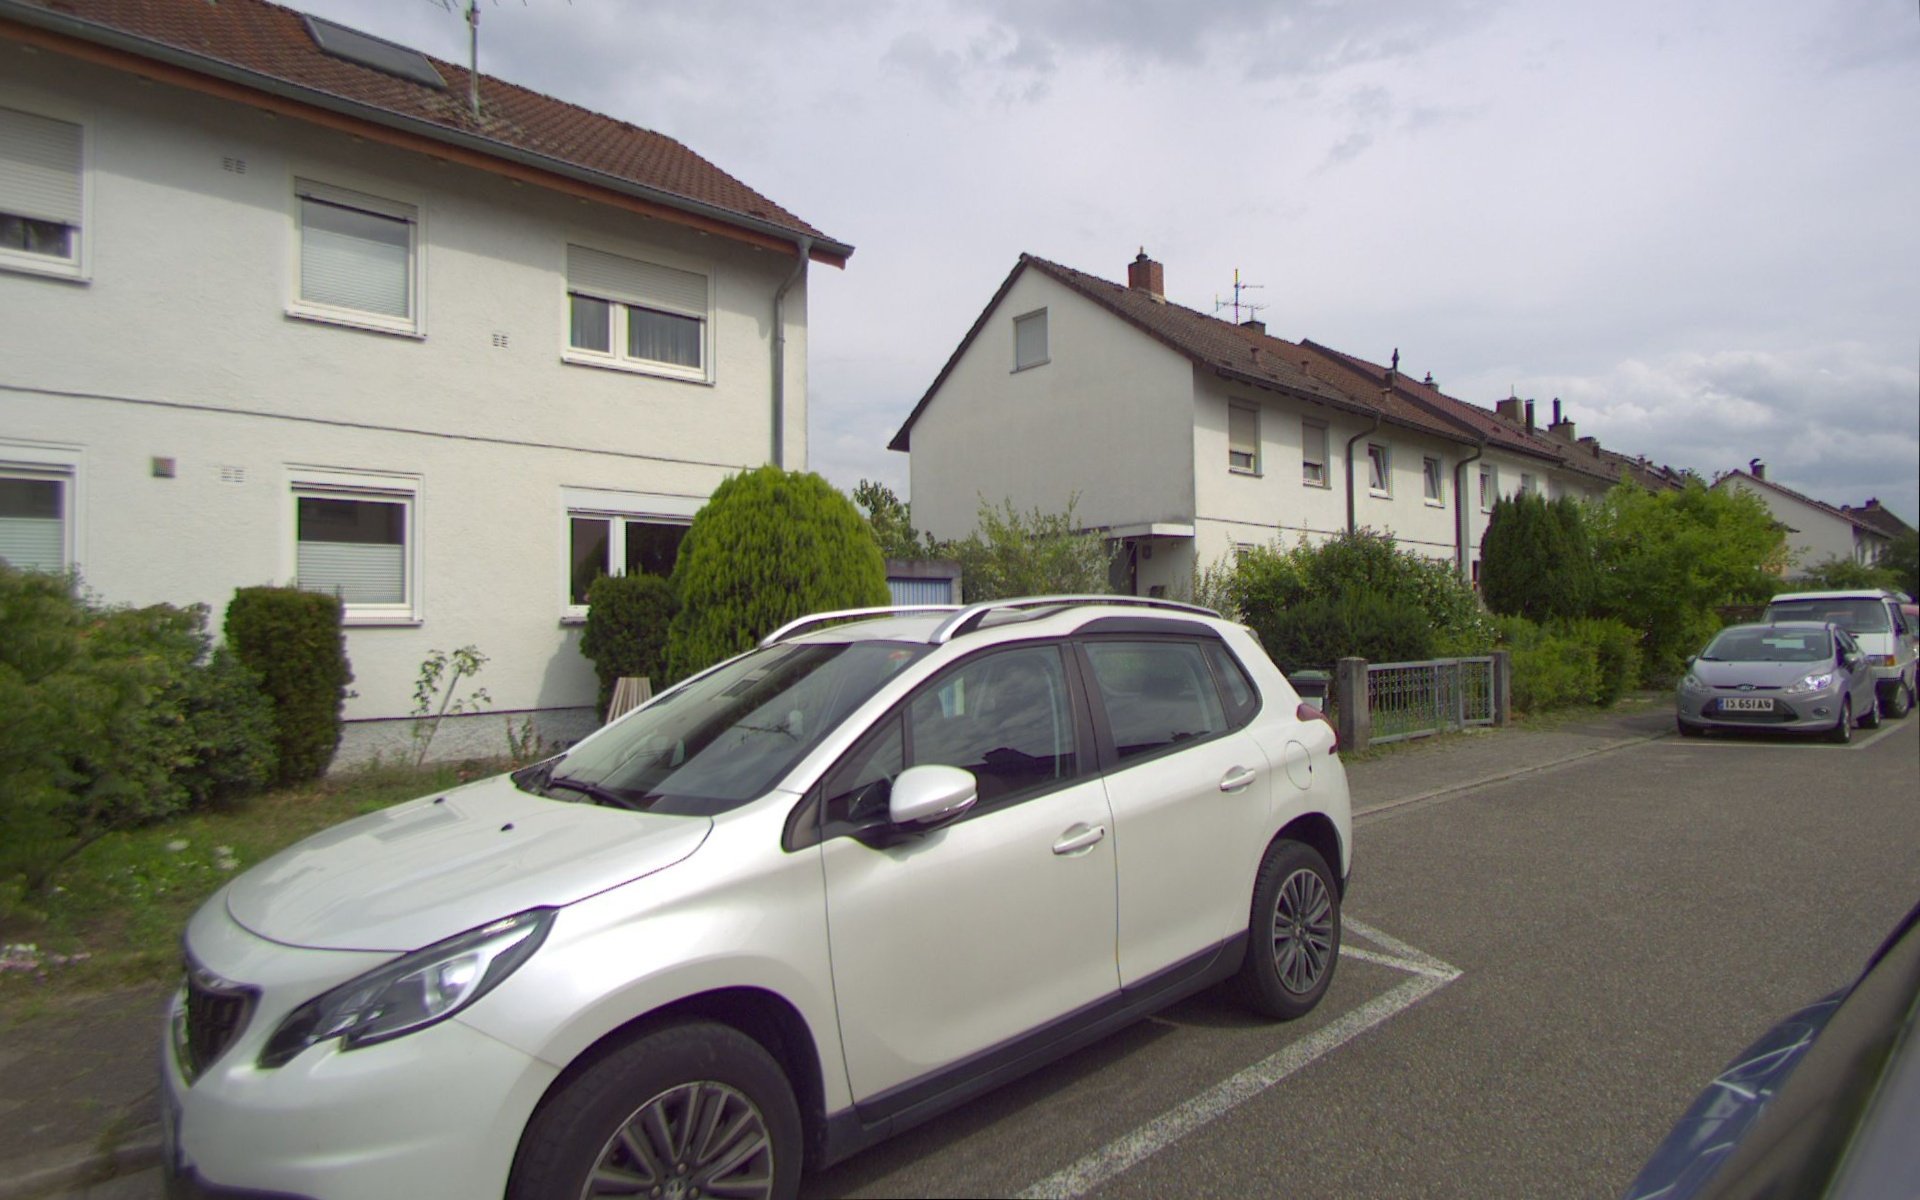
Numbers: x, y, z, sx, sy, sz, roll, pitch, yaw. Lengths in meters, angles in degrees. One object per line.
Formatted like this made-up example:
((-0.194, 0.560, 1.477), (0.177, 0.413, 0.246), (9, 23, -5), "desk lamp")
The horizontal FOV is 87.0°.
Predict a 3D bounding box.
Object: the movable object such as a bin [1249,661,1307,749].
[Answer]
((3.512, 1.145, 11.183), (0.431, 0.933, 0.457), (-4, -3, 44), "movable object such as a bin")

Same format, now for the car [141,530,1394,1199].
((-0.264, 0.723, 3.491), (3.905, 1.564, 1.715), (1, -3, -42), "car")

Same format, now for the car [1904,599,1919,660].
((28.682, 0.823, 29.135), (4.388, 1.675, 1.869), (1, -2, -43), "car")

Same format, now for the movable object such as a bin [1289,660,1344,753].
((3.799, 1.116, 10.775), (0.407, 0.933, 0.414), (-1, -2, 45), "movable object such as a bin")

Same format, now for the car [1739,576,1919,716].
((14.565, 0.676, 16.666), (4.667, 1.972, 2.022), (1, -1, -43), "car")

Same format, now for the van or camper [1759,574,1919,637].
((43.007, 0.284, 49.520), (2.494, 2.854, 5.805), (1, -1, -42), "van or camper")

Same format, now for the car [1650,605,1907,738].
((10.834, 0.818, 13.309), (4.056, 1.478, 1.904), (1, -1, -40), "car")

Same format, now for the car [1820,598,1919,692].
((18.306, 0.815, 19.844), (4.338, 1.672, 1.811), (1, -1, -45), "car")

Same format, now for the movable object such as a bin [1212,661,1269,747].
((3.195, 1.164, 11.515), (0.431, 0.933, 0.457), (-4, -3, 44), "movable object such as a bin")
